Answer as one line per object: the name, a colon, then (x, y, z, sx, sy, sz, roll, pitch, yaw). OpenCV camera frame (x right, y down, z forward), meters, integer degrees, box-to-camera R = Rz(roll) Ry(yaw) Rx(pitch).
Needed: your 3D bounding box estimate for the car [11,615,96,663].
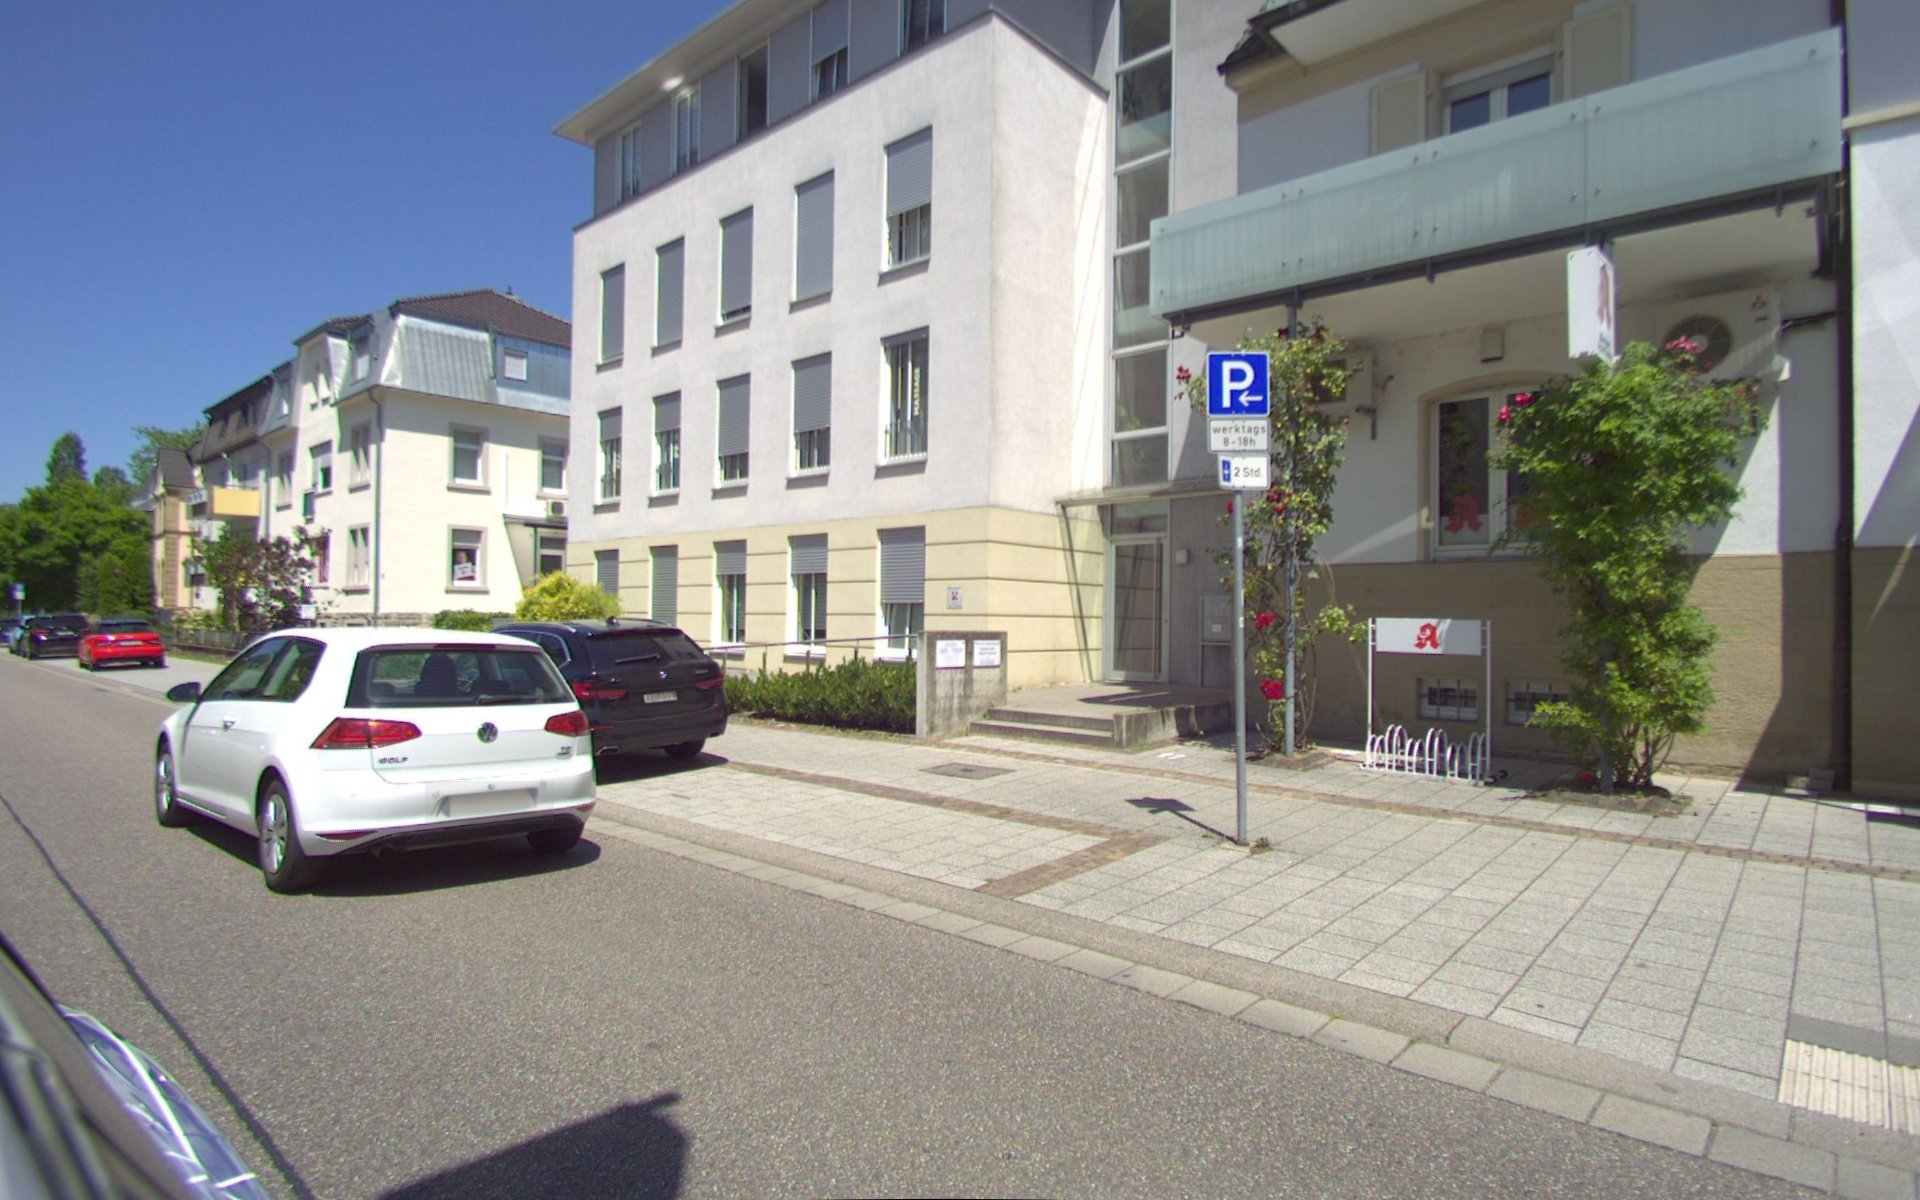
car: (-33.300, 1.390, 37.142, 4.435, 1.598, 1.899, -1, 1, 43)

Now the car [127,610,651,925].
car: (-3.962, 0.862, 6.774, 3.867, 1.493, 1.789, -1, -4, 41)

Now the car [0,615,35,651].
car: (-47.860, 1.632, 50.718, 4.288, 1.703, 1.899, -1, 1, 44)

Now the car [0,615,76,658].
car: (-37.319, 1.442, 40.922, 4.287, 1.598, 1.899, -1, 1, 43)

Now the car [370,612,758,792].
car: (-4.537, 0.909, 11.079, 5.149, 1.463, 1.896, -1, 1, 43)

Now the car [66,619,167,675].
car: (-24.802, 1.312, 29.702, 4.260, 1.463, 1.714, -1, 1, 43)
